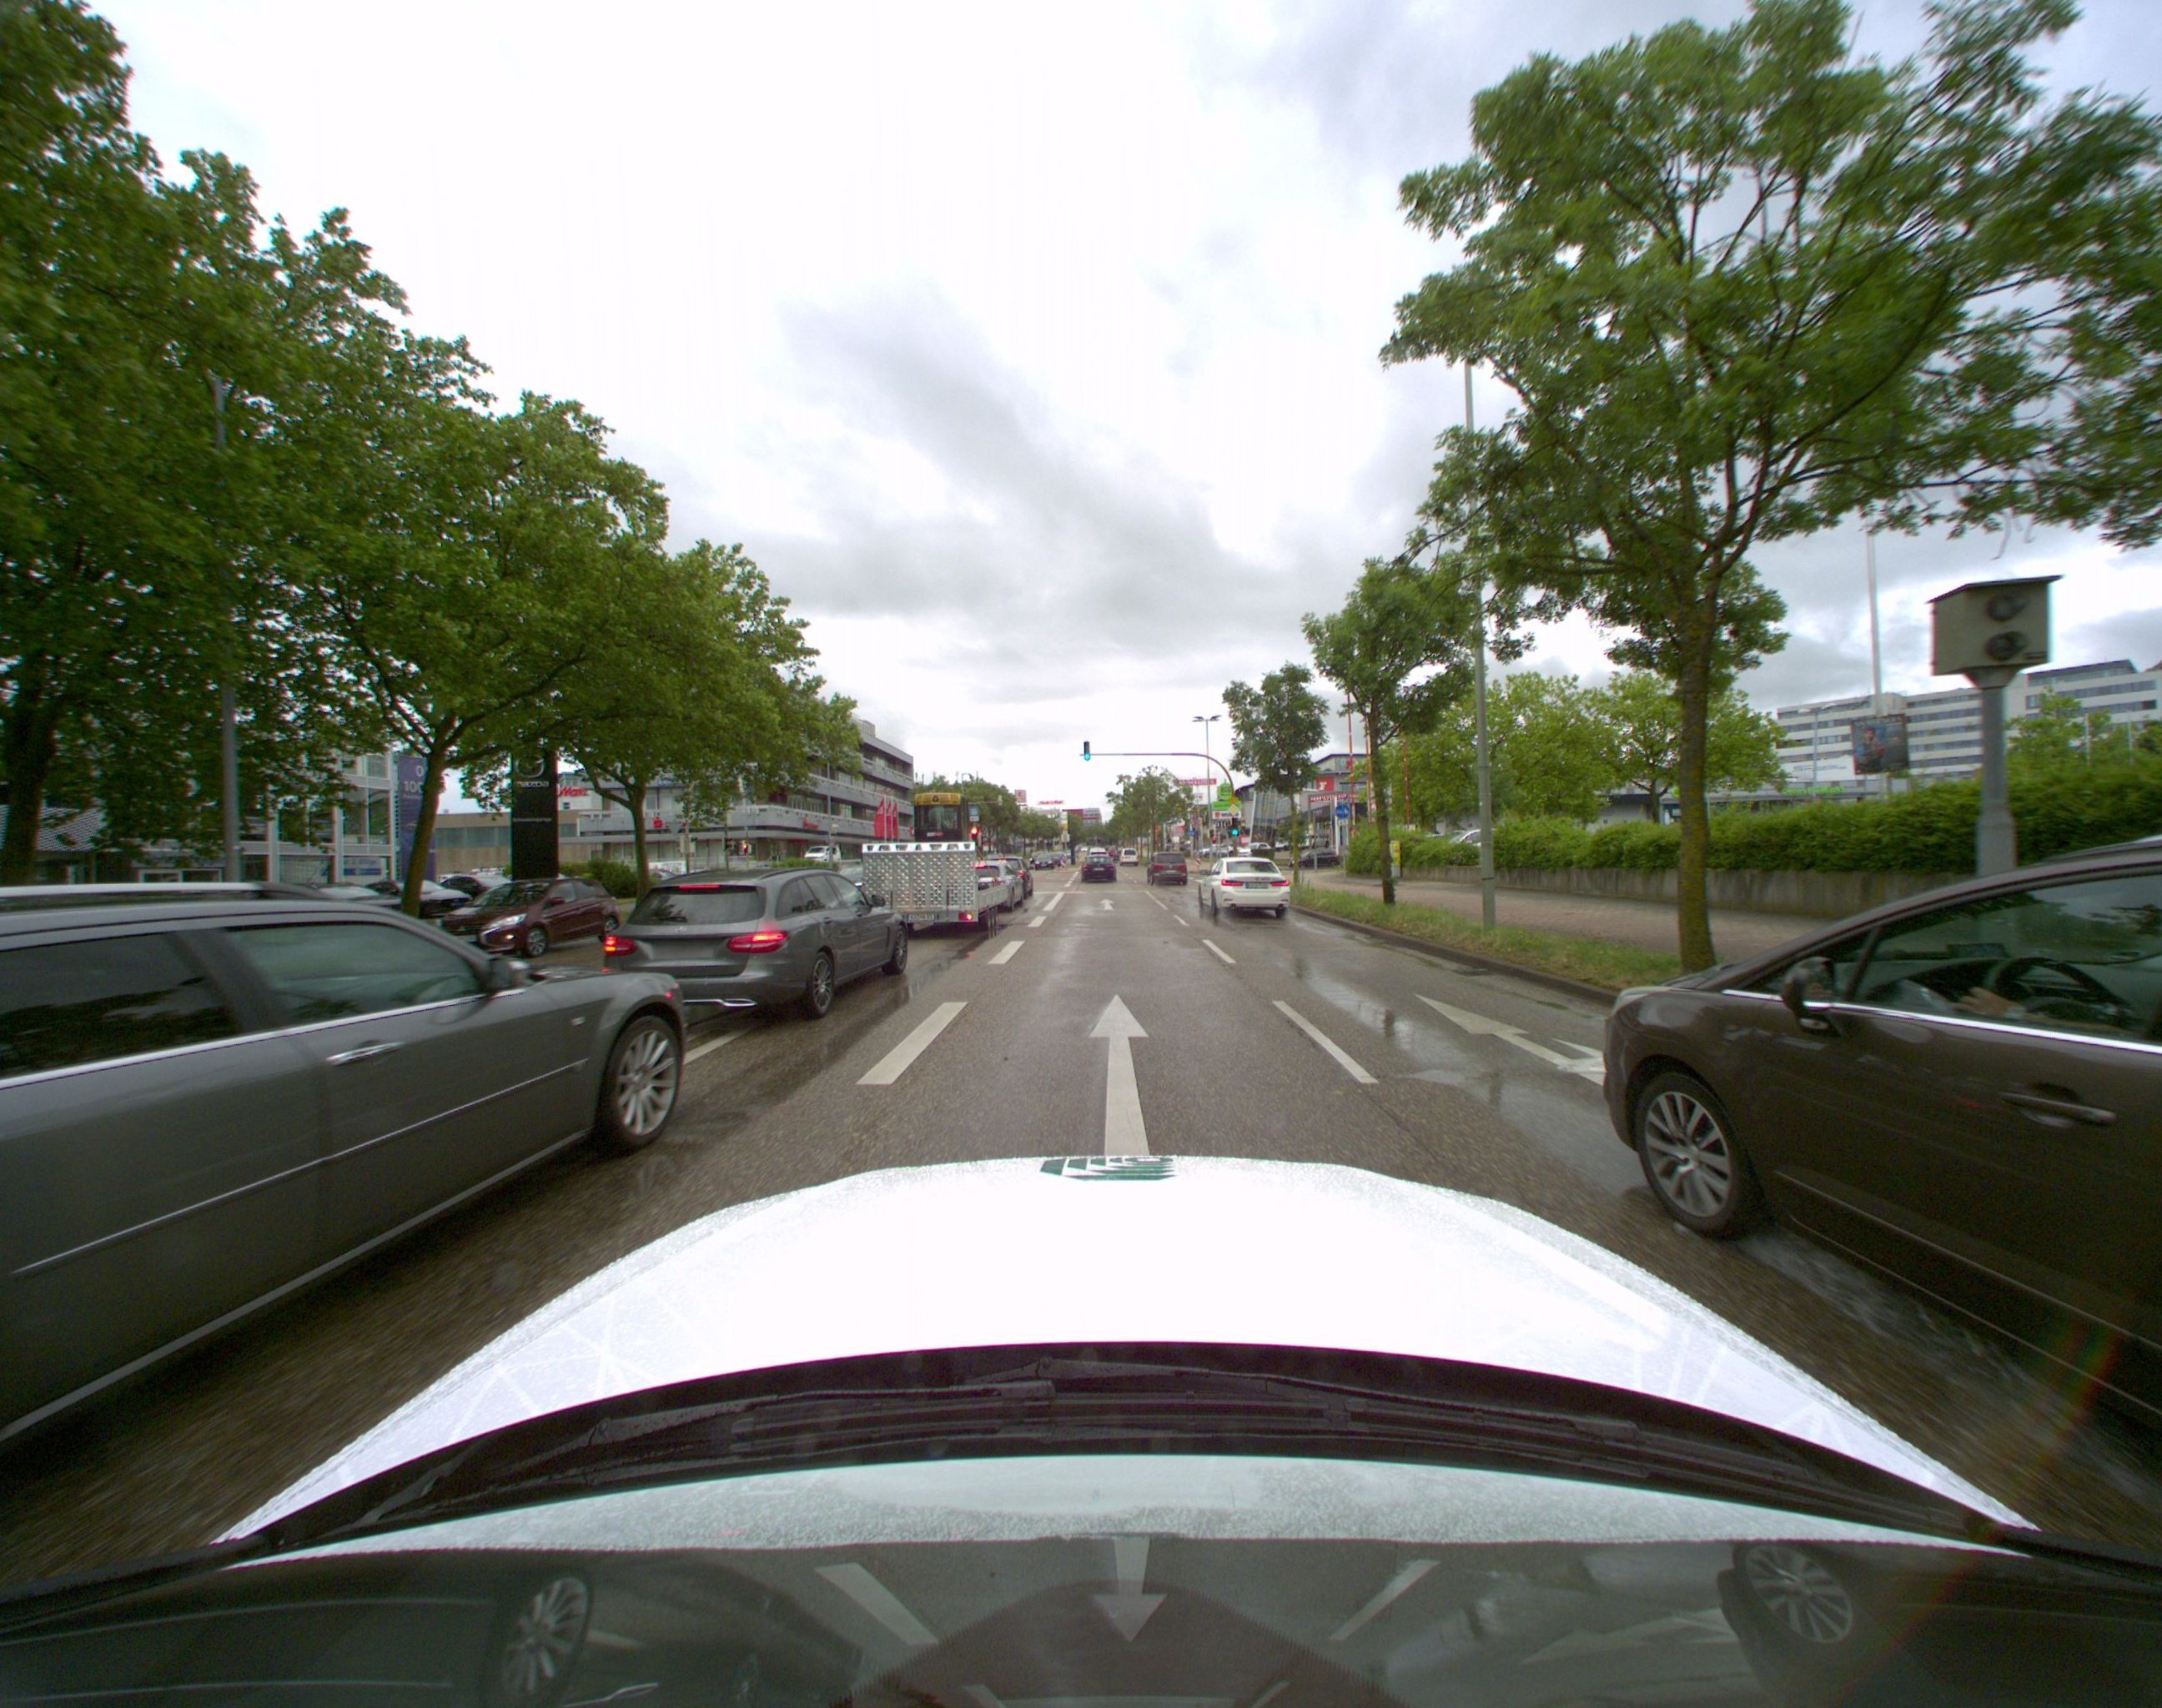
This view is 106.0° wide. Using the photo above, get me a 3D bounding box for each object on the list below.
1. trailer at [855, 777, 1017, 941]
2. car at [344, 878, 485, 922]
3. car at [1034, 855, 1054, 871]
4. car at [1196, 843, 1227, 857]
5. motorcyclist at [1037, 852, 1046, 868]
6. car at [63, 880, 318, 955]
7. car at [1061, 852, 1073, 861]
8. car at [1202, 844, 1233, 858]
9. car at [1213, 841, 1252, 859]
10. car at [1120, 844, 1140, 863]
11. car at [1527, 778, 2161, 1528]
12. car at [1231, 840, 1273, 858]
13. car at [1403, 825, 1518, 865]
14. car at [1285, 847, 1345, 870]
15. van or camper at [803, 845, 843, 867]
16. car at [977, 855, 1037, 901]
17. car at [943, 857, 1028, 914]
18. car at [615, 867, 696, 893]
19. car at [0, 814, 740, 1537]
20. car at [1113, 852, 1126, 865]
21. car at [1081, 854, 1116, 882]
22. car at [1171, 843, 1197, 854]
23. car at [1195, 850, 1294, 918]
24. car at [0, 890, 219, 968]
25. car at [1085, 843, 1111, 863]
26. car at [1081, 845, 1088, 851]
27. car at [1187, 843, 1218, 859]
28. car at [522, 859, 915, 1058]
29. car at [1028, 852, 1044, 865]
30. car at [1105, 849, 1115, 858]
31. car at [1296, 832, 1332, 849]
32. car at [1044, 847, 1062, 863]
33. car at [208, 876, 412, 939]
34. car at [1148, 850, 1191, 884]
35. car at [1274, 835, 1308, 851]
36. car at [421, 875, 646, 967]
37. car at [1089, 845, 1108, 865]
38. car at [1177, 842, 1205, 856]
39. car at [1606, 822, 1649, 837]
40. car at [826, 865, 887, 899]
[{"bbox_3d":[-2.851,0.102,17.606,2.365,2.897,5.545,-2,0,0],"label":"trailer"},{"bbox_3d":[-24.783,1.681,30.395,3.732,1.391,1.688,-2,0,-4],"label":"car"},{"bbox_3d":[-3.418,0.829,75.637,1.678,1.377,3.997,-2,0,-2],"label":"car"},{"bbox_3d":[16.539,-0.509,103.008,3.617,1.536,1.776,-3,0,-38],"label":"car"},{"bbox_3d":[-3.889,0.577,80.257,0.804,1.559,1.267,-2,0,0],"label":"motorcyclist"},{"bbox_3d":[-24.402,1.684,22.559,4.236,1.653,1.998,-3,-1,-22],"label":"car"},{"bbox_3d":[-2.284,0.418,137.167,1.717,1.398,4.790,-4,0,1],"label":"car"},{"bbox_3d":[15.981,-0.383,95.313,3.616,1.536,1.625,-2,0,-38],"label":"car"},{"bbox_3d":[16.704,-0.410,89.551,4.047,1.662,1.960,-4,1,-38],"label":"car"},{"bbox_3d":[4.988,-0.014,83.675,1.775,1.866,4.001,-2,0,1],"label":"car"},{"bbox_3d":[3.191,0.624,2.094,1.720,1.624,4.472,-2,0,2],"label":"car"},{"bbox_3d":[16.283,-0.486,77.449,1.908,1.576,4.314,-2,0,43],"label":"car"},{"bbox_3d":[15.628,-0.369,33.692,3.970,1.442,1.657,-2,0,3],"label":"car"},{"bbox_3d":[17.564,0.338,61.286,3.965,1.489,1.818,-3,-1,1],"label":"car"},{"bbox_3d":[-23.845,0.193,75.444,1.986,1.967,4.789,0,-1,1],"label":"van or camper"},{"bbox_3d":[-2.637,0.813,29.885,1.707,1.489,4.078,-2,0,1],"label":"car"},{"bbox_3d":[-2.680,0.845,23.928,1.759,1.458,4.782,-2,0,1],"label":"car"},{"bbox_3d":[-27.517,1.656,52.759,4.135,1.489,1.879,-2,0,-1],"label":"car"},{"bbox_3d":[-3.296,0.741,2.916,1.900,1.578,4.882,-2,0,2],"label":"car"},{"bbox_3d":[5.030,0.608,107.819,1.678,1.684,3.404,0,-1,2],"label":"car"},{"bbox_3d":[0.954,0.736,43.892,1.775,1.398,4.001,-1,0,1],"label":"car"},{"bbox_3d":[16.725,-0.864,131.809,4.089,1.703,1.803,-2,0,7],"label":"car"},{"bbox_3d":[4.088,0.696,21.028,1.794,1.544,4.622,0,0,2],"label":"car"},{"bbox_3d":[-24.050,1.746,19.265,4.571,1.596,1.986,-1,-1,-21],"label":"car"},{"bbox_3d":[1.210,-0.078,60.814,1.678,1.377,3.997,-2,0,-2],"label":"car"},{"bbox_3d":[0.956,-1.699,235.314,1.936,1.448,4.000,-1,0,1],"label":"car"},{"bbox_3d":[16.956,-0.484,113.580,4.094,2.105,1.801,-2,0,2],"label":"car"},{"bbox_3d":[-3.406,0.866,8.869,1.986,1.429,4.557,-3,0,2],"label":"car"},{"bbox_3d":[-6.022,0.581,108.807,1.906,1.608,4.360,-2,0,-2],"label":"car"},{"bbox_3d":[4.930,-0.021,137.199,1.689,1.443,3.991,-2,0,2],"label":"car"},{"bbox_3d":[25.394,-1.456,88.626,4.177,1.771,1.717,-2,0,-42],"label":"car"},{"bbox_3d":[-2.918,0.125,84.706,1.740,1.489,4.825,-2,-1,-2],"label":"car"},{"bbox_3d":[-24.484,1.646,26.089,4.236,1.596,1.985,-3,0,-22],"label":"car"},{"bbox_3d":[4.315,0.582,40.132,1.794,1.587,4.453,0,0,2],"label":"car"},{"bbox_3d":[25.334,-1.352,98.302,4.174,1.771,1.718,-2,0,-38],"label":"car"},{"bbox_3d":[-10.787,1.238,16.460,1.704,1.465,4.085,-3,0,0],"label":"car"},{"bbox_3d":[1.824,0.121,84.353,1.986,2.014,4.001,0,-1,1],"label":"car"},{"bbox_3d":[16.885,-0.745,124.812,4.094,1.904,1.801,-2,0,3],"label":"car"},{"bbox_3d":[54.613,-2.448,81.373,1.548,1.270,3.208,-2,0,-39],"label":"car"},{"bbox_3d":[-10.658,1.285,38.946,1.705,1.383,4.173,-4,0,-1],"label":"car"}]
